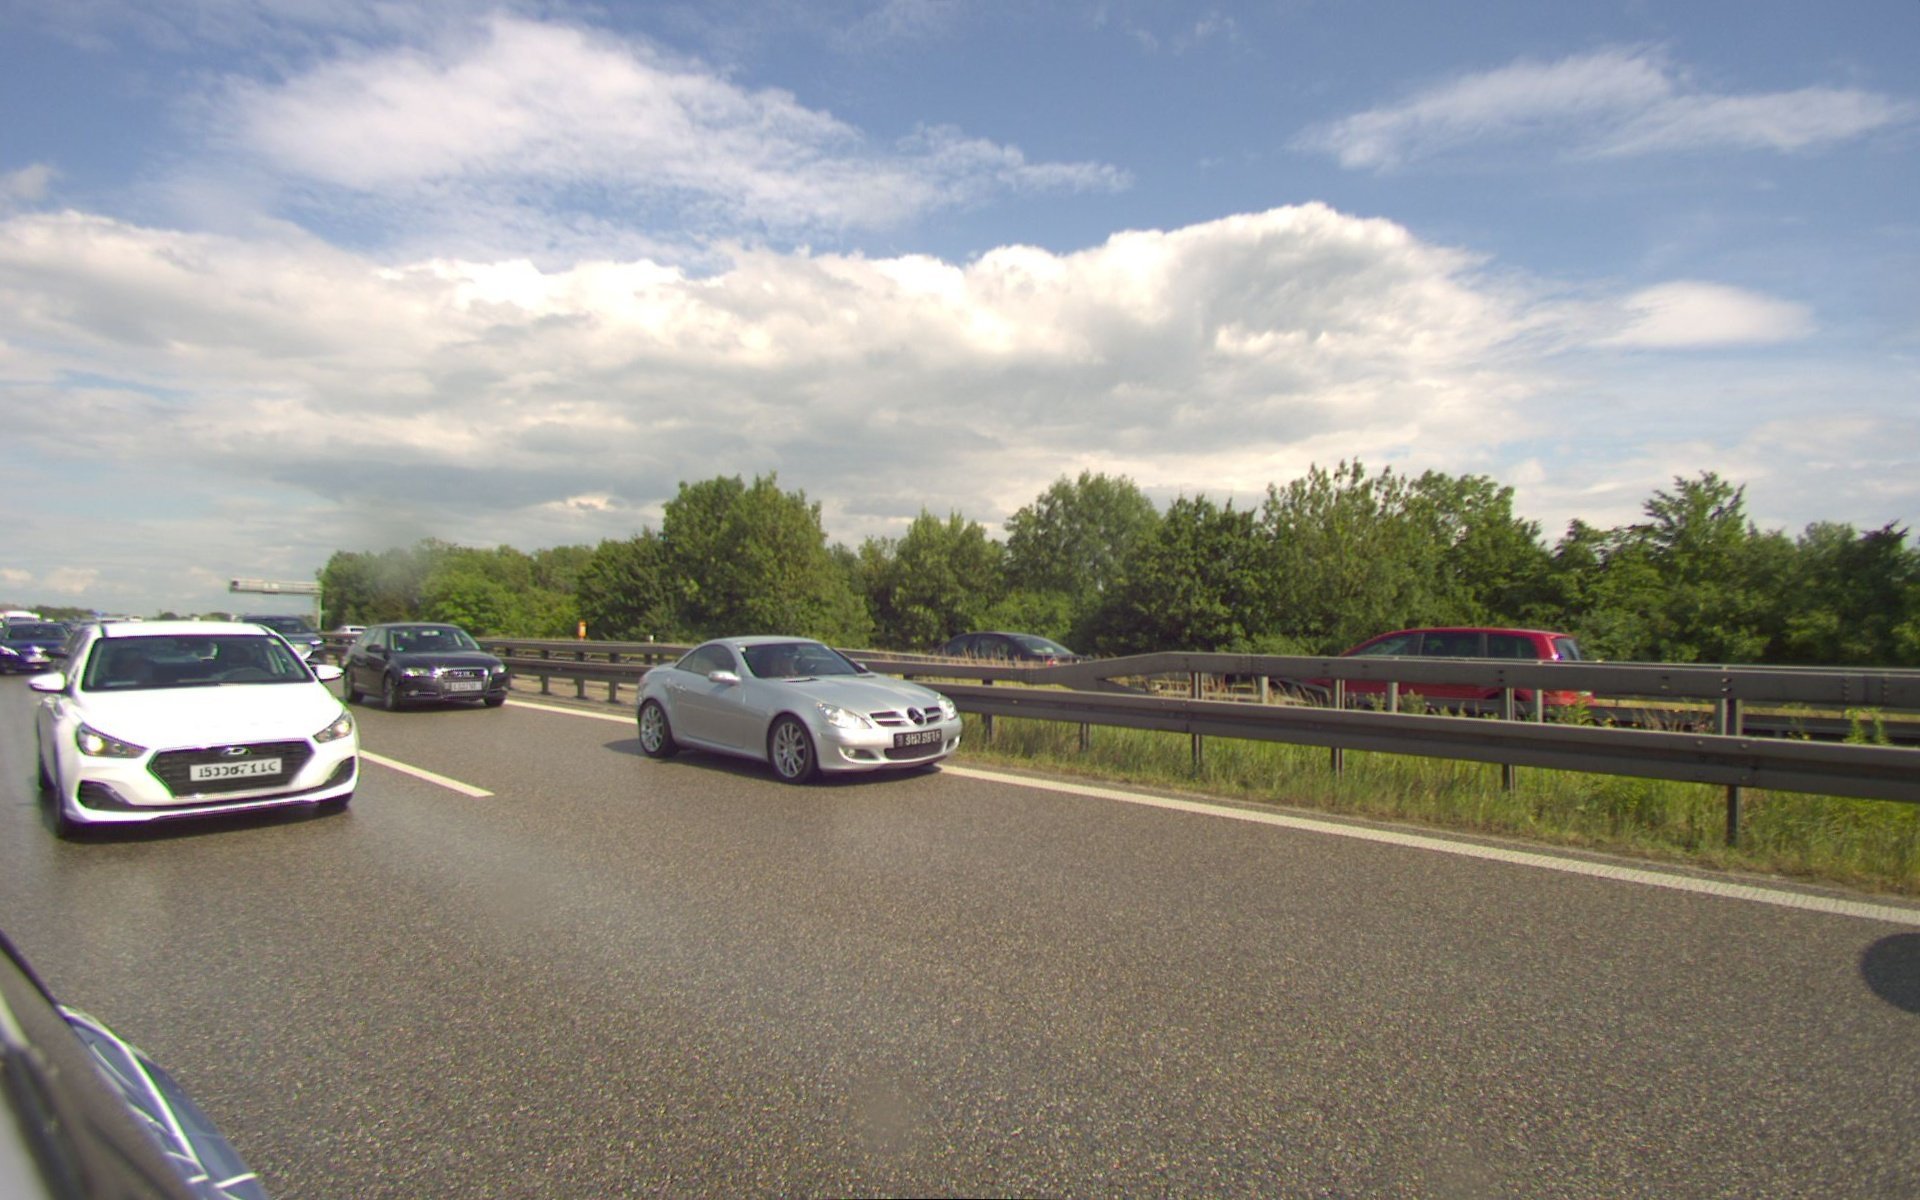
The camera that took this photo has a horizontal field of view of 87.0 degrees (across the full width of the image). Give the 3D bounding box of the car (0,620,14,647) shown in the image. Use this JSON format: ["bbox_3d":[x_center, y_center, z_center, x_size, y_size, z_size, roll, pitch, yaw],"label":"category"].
[{"bbox_3d":[-56.659,1.963,59.081,4.002,1.490,1.971,0,0,45],"label":"car"}]

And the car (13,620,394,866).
[{"bbox_3d":[-6.383,0.903,8.308,4.550,1.466,1.860,-1,-2,45],"label":"car"}]

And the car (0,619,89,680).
[{"bbox_3d":[-25.784,1.314,28.215,4.002,1.497,1.971,0,0,45],"label":"car"}]

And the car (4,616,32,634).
[{"bbox_3d":[-98.537,2.608,105.814,4.002,1.710,1.971,0,0,45],"label":"car"}]

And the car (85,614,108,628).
[{"bbox_3d":[-114.437,2.795,134.118,1.970,1.792,4.463,1,-2,-45],"label":"car"}]

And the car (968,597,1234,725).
[{"bbox_3d":[2.241,0.925,16.779,4.002,1.852,1.971,-1,-2,45],"label":"car"}]

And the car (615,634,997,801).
[{"bbox_3d":[-1.694,1.002,10.116,4.065,1.288,1.705,-1,-2,45],"label":"car"}]

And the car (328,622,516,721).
[{"bbox_3d":[-9.202,1.110,17.161,1.746,1.436,4.142,0,-1,-44],"label":"car"}]

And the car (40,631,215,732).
[{"bbox_3d":[-13.183,1.171,15.937,4.289,1.348,1.705,-1,-2,45],"label":"car"}]

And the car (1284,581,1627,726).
[{"bbox_3d":[7.945,0.800,16.556,4.655,2.029,1.971,-1,-2,44],"label":"car"}]

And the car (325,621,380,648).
[{"bbox_3d":[-39.176,2.213,65.186,4.462,1.700,1.971,-1,-2,44],"label":"car"}]

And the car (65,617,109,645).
[{"bbox_3d":[-59.355,2.076,68.769,4.002,1.710,1.971,0,0,45],"label":"car"}]

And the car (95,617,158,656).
[{"bbox_3d":[-40.781,1.749,49.463,4.002,1.762,1.971,0,0,45],"label":"car"}]

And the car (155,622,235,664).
[{"bbox_3d":[-27.737,1.514,36.658,4.002,1.389,1.747,0,-1,45],"label":"car"}]

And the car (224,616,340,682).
[{"bbox_3d":[-18.140,1.243,27.010,1.848,1.618,4.232,1,-1,-44],"label":"car"}]

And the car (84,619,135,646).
[{"bbox_3d":[-50.324,1.894,59.872,4.002,1.490,1.971,0,0,45],"label":"car"}]
